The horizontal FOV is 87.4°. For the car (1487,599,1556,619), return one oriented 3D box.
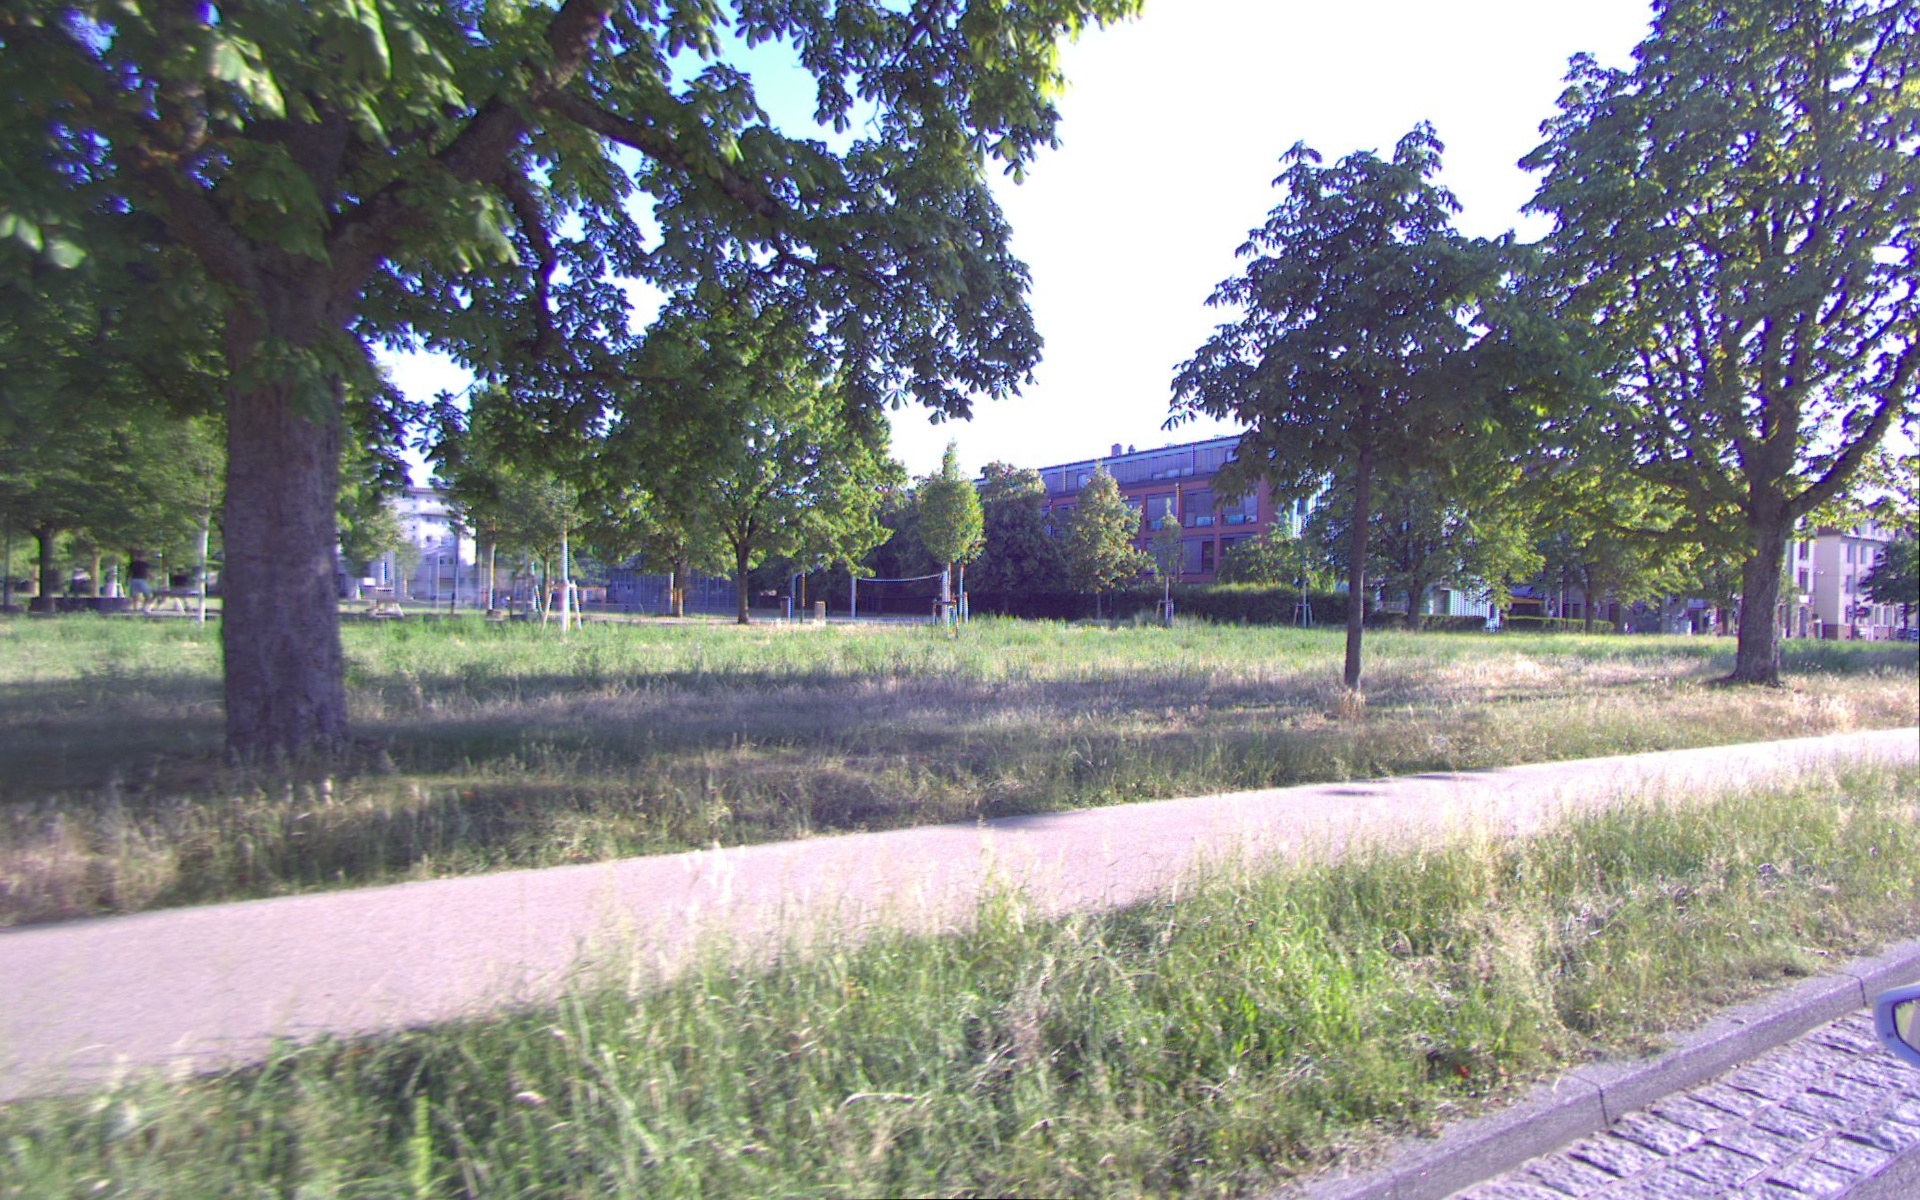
[{"bbox_3d":[47.293,0.771,84.673,1.800,1.453,4.726,3,-1,-39],"label":"car"}]

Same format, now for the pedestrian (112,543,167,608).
[{"bbox_3d":[-24.631,-0.715,30.165,0.969,1.888,1.110,1,1,-23],"label":"pedestrian"}]

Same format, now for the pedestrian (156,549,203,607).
[{"bbox_3d":[-26.326,-0.748,33.902,0.969,1.888,1.110,1,1,-23],"label":"pedestrian"}]

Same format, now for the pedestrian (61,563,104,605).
[{"bbox_3d":[-28.565,-0.534,32.703,0.975,1.312,1.104,1,1,-39],"label":"pedestrian"}]
